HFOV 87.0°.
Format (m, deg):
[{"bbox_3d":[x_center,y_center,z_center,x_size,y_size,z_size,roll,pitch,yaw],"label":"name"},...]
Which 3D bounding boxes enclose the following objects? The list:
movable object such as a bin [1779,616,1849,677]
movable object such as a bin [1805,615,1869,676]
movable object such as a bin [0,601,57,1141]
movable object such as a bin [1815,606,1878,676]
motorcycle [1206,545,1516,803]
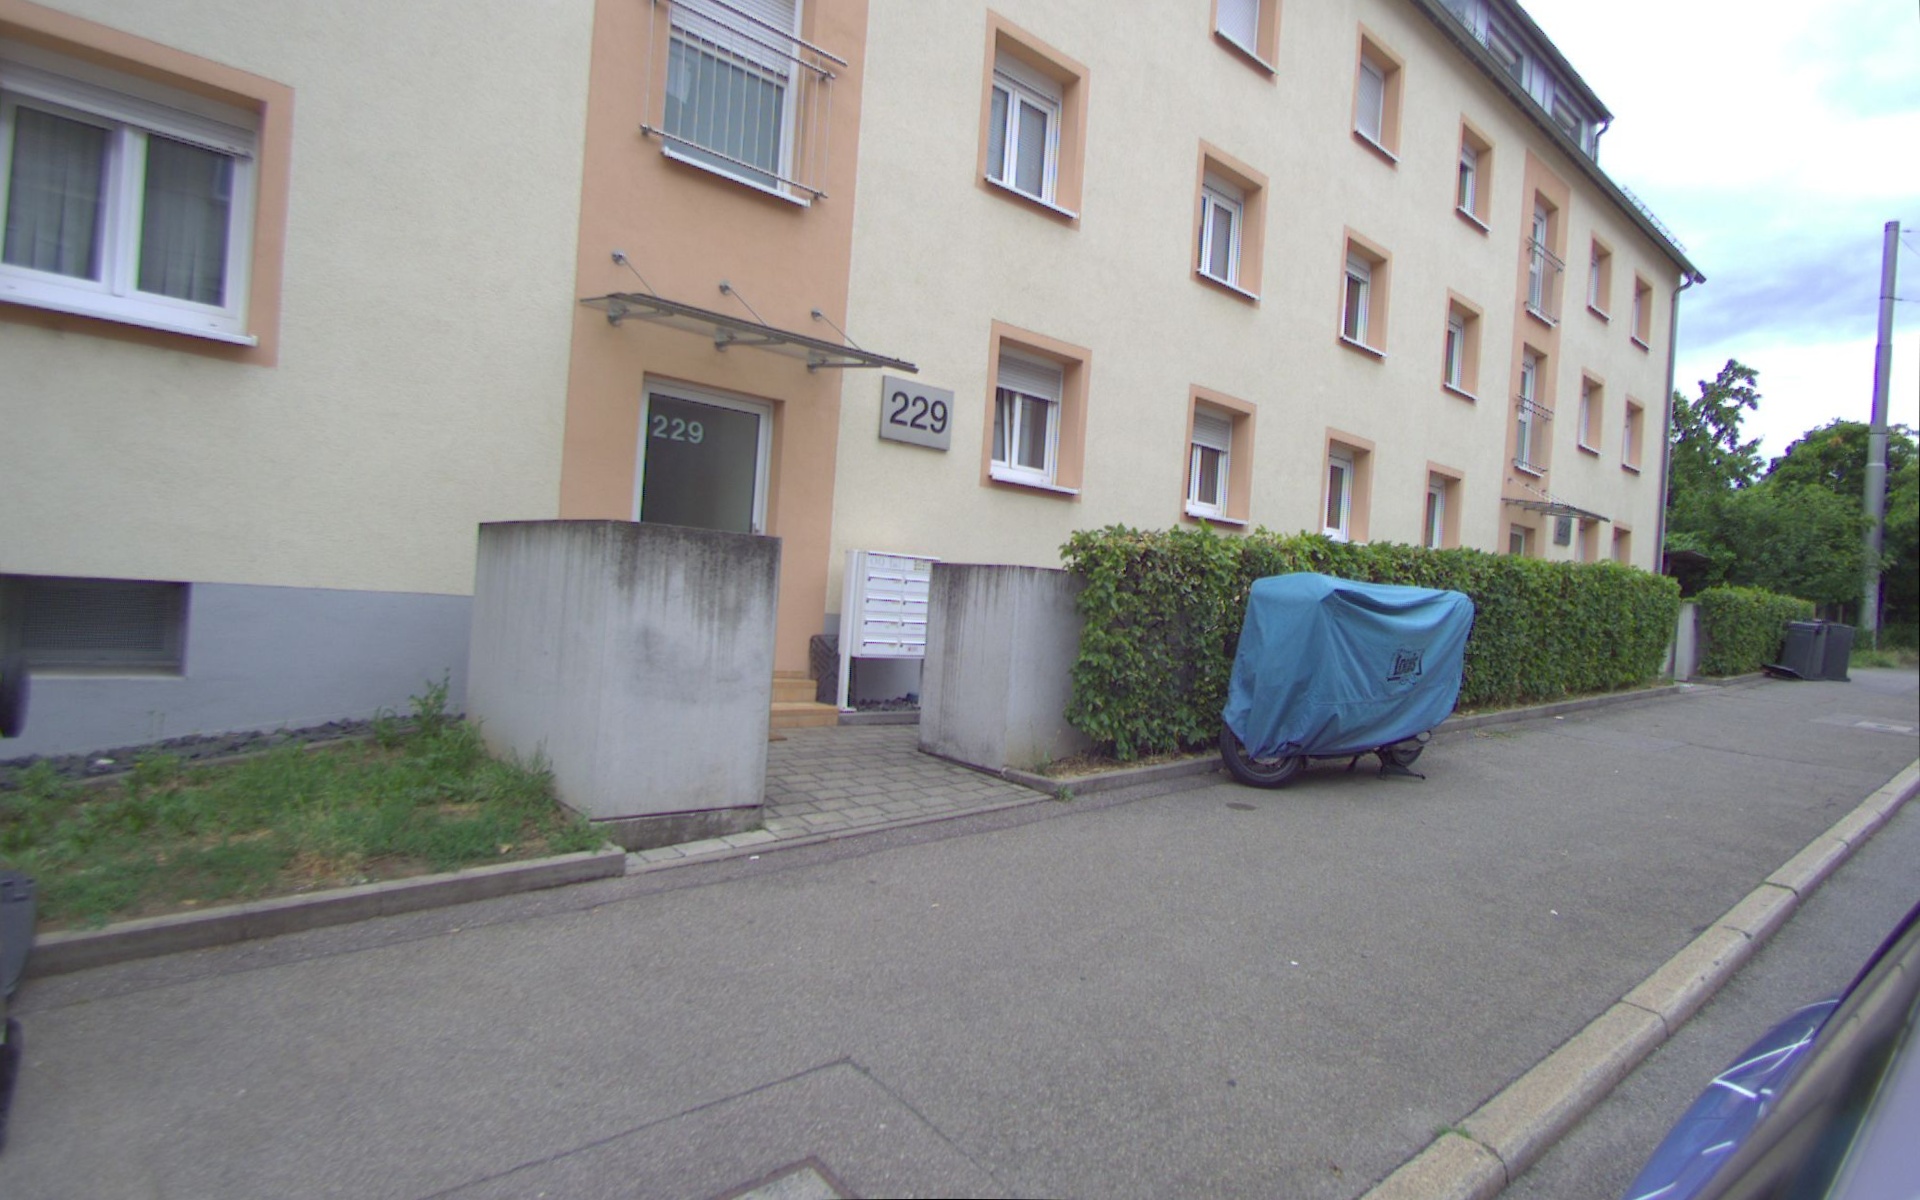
[{"bbox_3d":[15.250,0.813,18.074,0.775,1.024,0.794,1,2,-39],"label":"movable object such as a bin"},{"bbox_3d":[16.039,0.817,18.506,0.776,1.024,0.793,1,2,-44],"label":"movable object such as a bin"},{"bbox_3d":[-2.389,0.559,2.129,0.679,1.093,0.590,1,1,-39],"label":"movable object such as a bin"},{"bbox_3d":[16.656,0.759,19.020,0.776,1.233,0.793,1,2,-44],"label":"movable object such as a bin"},{"bbox_3d":[2.816,0.421,6.921,2.507,1.474,0.840,1,2,-40],"label":"motorcycle"}]
